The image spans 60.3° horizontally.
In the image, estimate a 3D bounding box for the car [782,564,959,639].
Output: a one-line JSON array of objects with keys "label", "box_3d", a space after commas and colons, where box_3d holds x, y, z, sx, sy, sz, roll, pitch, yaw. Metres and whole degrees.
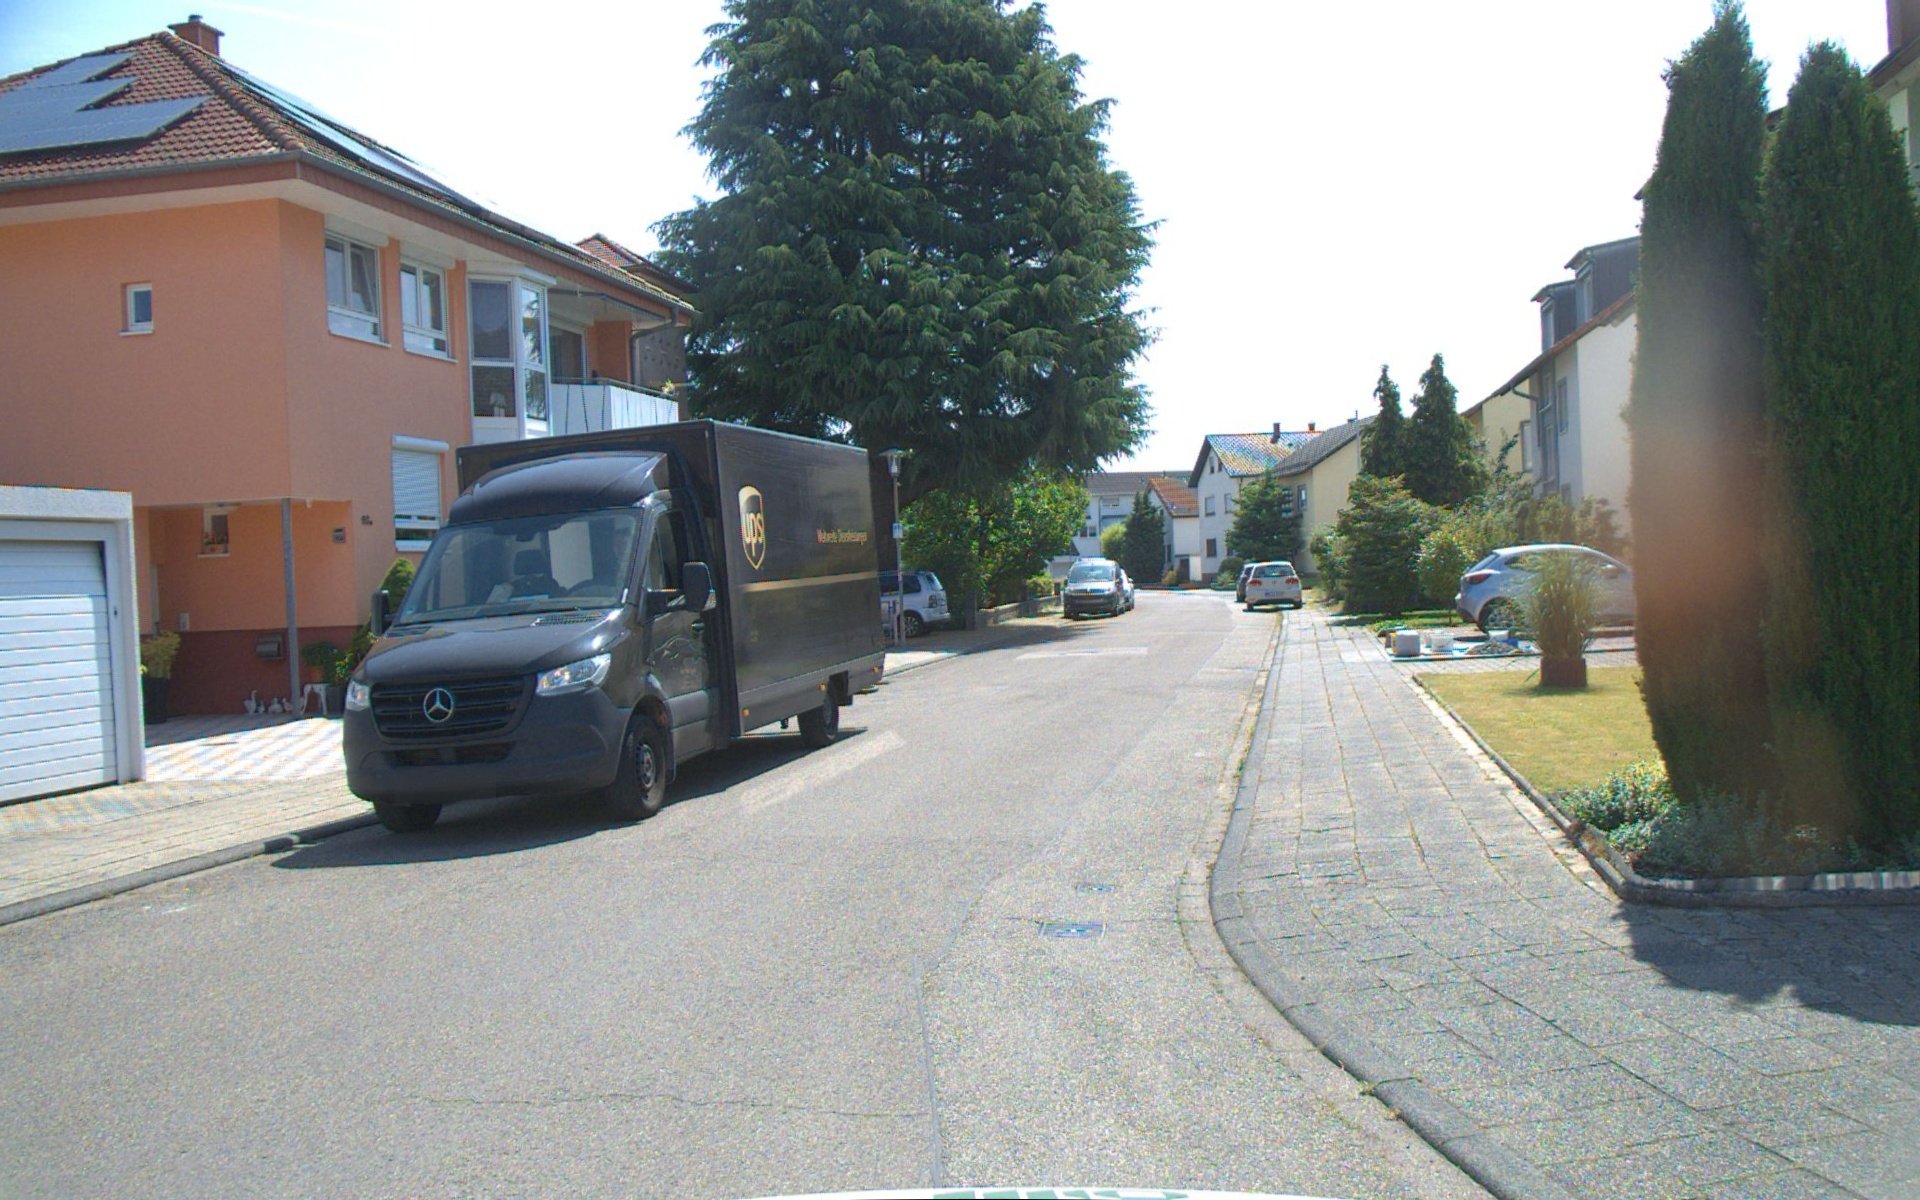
[{"label": "car", "box_3d": [-2.262, 0.024, 42.326, 4.103, 1.681, 1.816, -3, 1, 14]}]

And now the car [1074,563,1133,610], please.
[{"label": "car", "box_3d": [5.176, -0.512, 59.392, 1.769, 1.521, 4.004, -3, 1, 9]}]

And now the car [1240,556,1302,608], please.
[{"label": "car", "box_3d": [9.913, -0.612, 52.915, 1.769, 1.521, 4.004, -3, 1, 9]}]

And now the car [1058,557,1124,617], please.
[{"label": "car", "box_3d": [4.284, -0.464, 53.581, 1.769, 1.793, 4.211, -3, 1, 9]}]

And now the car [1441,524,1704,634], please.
[{"label": "car", "box_3d": [10.143, -0.354, 27.660, 3.830, 1.536, 1.776, -4, 1, 12]}]

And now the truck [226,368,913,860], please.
[{"label": "truck", "box_3d": [-2.574, 0.025, 13.807, 2.382, 2.835, 7.305, -5, 0, 13]}]

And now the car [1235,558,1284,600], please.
[{"label": "car", "box_3d": [11.856, -0.846, 65.609, 1.769, 1.521, 4.004, -3, 1, 9]}]
